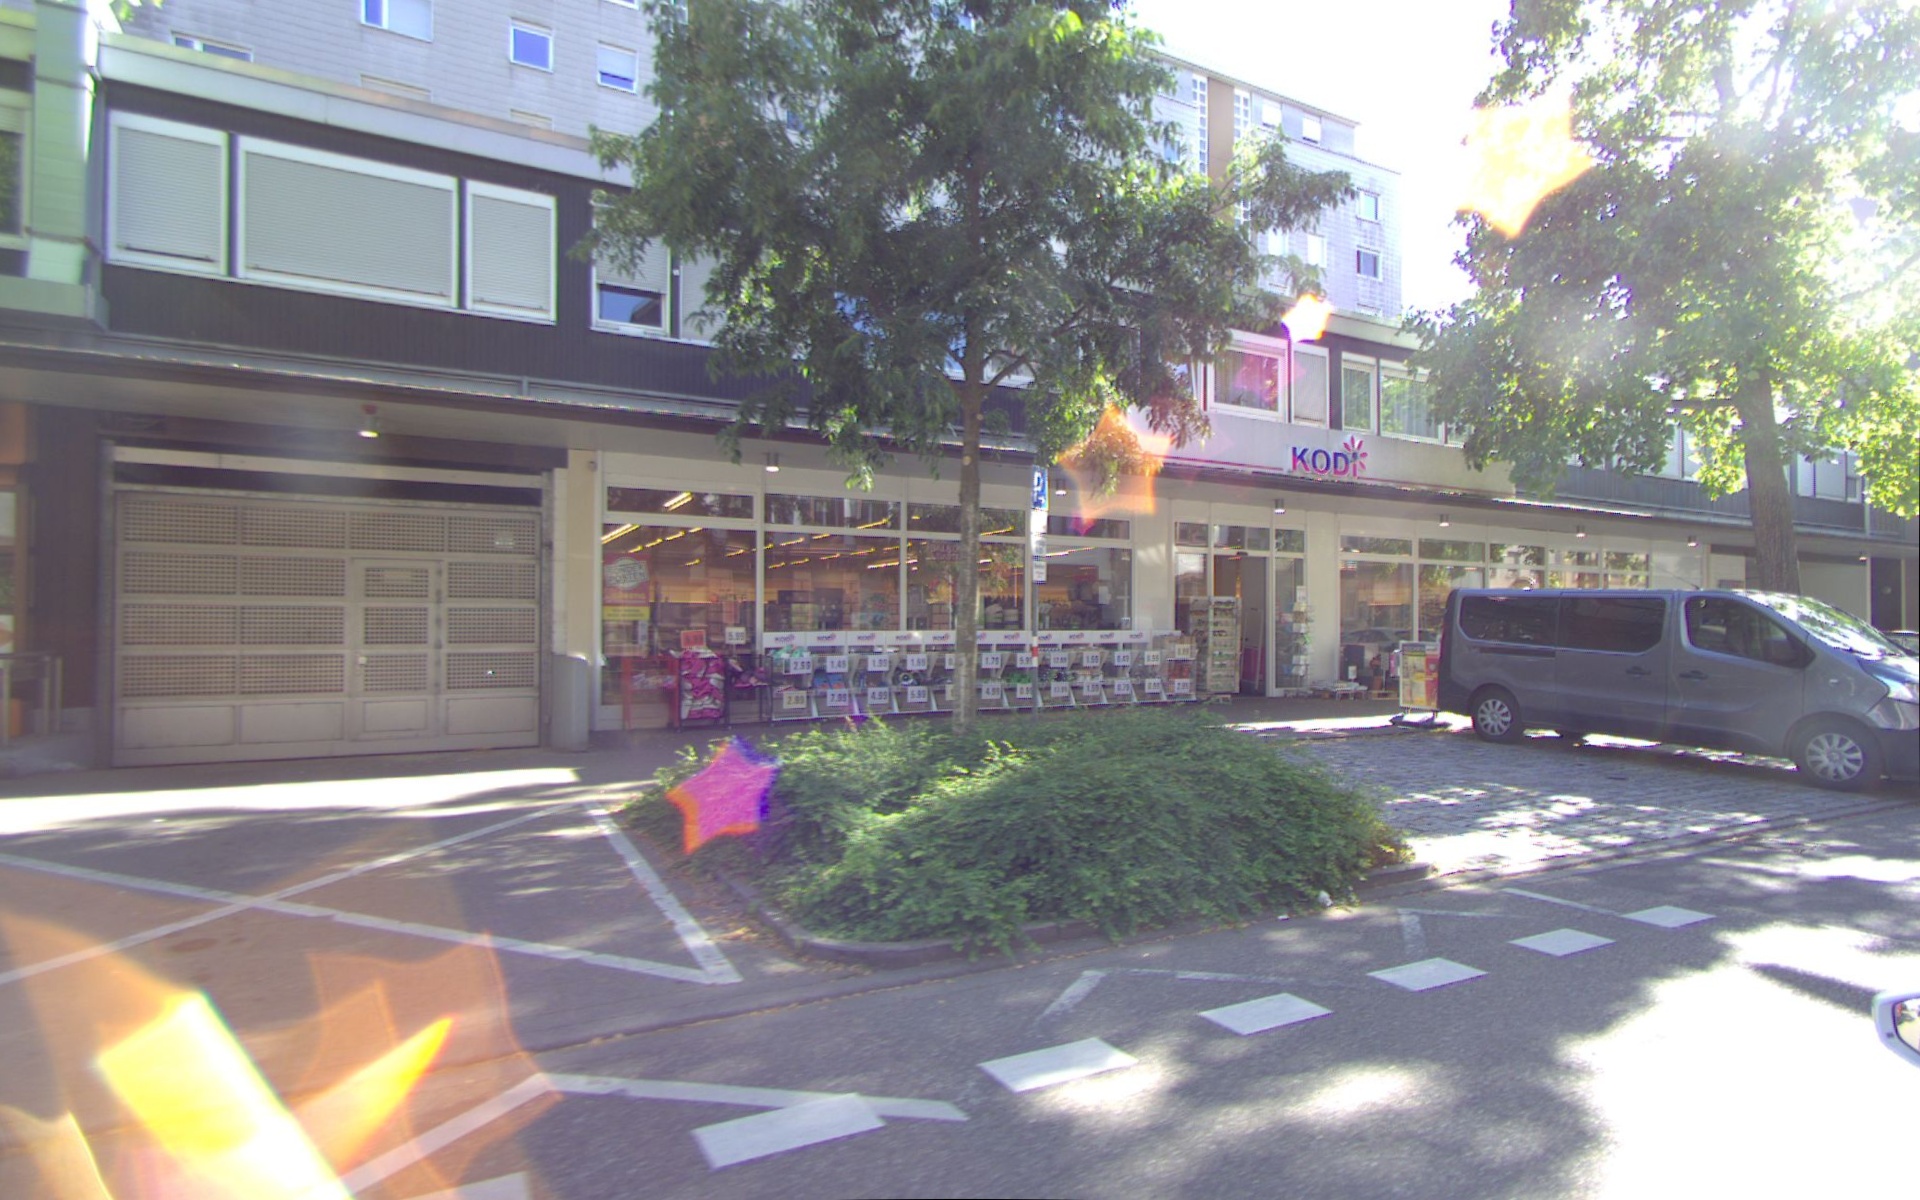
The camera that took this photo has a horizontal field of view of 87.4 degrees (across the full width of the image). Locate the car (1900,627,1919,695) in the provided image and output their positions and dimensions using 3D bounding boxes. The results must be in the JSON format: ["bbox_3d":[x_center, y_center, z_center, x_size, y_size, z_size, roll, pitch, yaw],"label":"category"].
[{"bbox_3d":[22.423,1.351,20.627,1.623,1.452,4.288,1,0,-28],"label":"car"}]

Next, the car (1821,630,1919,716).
[{"bbox_3d":[17.894,1.311,17.557,1.792,1.483,3.967,1,0,-31],"label":"car"}]

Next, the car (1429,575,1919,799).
[{"bbox_3d":[8.367,0.794,11.541,1.990,2.000,5.271,1,0,-28],"label":"car"}]

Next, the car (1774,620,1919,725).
[{"bbox_3d":[15.278,1.133,15.731,1.663,1.572,3.584,1,0,-27],"label":"car"}]
